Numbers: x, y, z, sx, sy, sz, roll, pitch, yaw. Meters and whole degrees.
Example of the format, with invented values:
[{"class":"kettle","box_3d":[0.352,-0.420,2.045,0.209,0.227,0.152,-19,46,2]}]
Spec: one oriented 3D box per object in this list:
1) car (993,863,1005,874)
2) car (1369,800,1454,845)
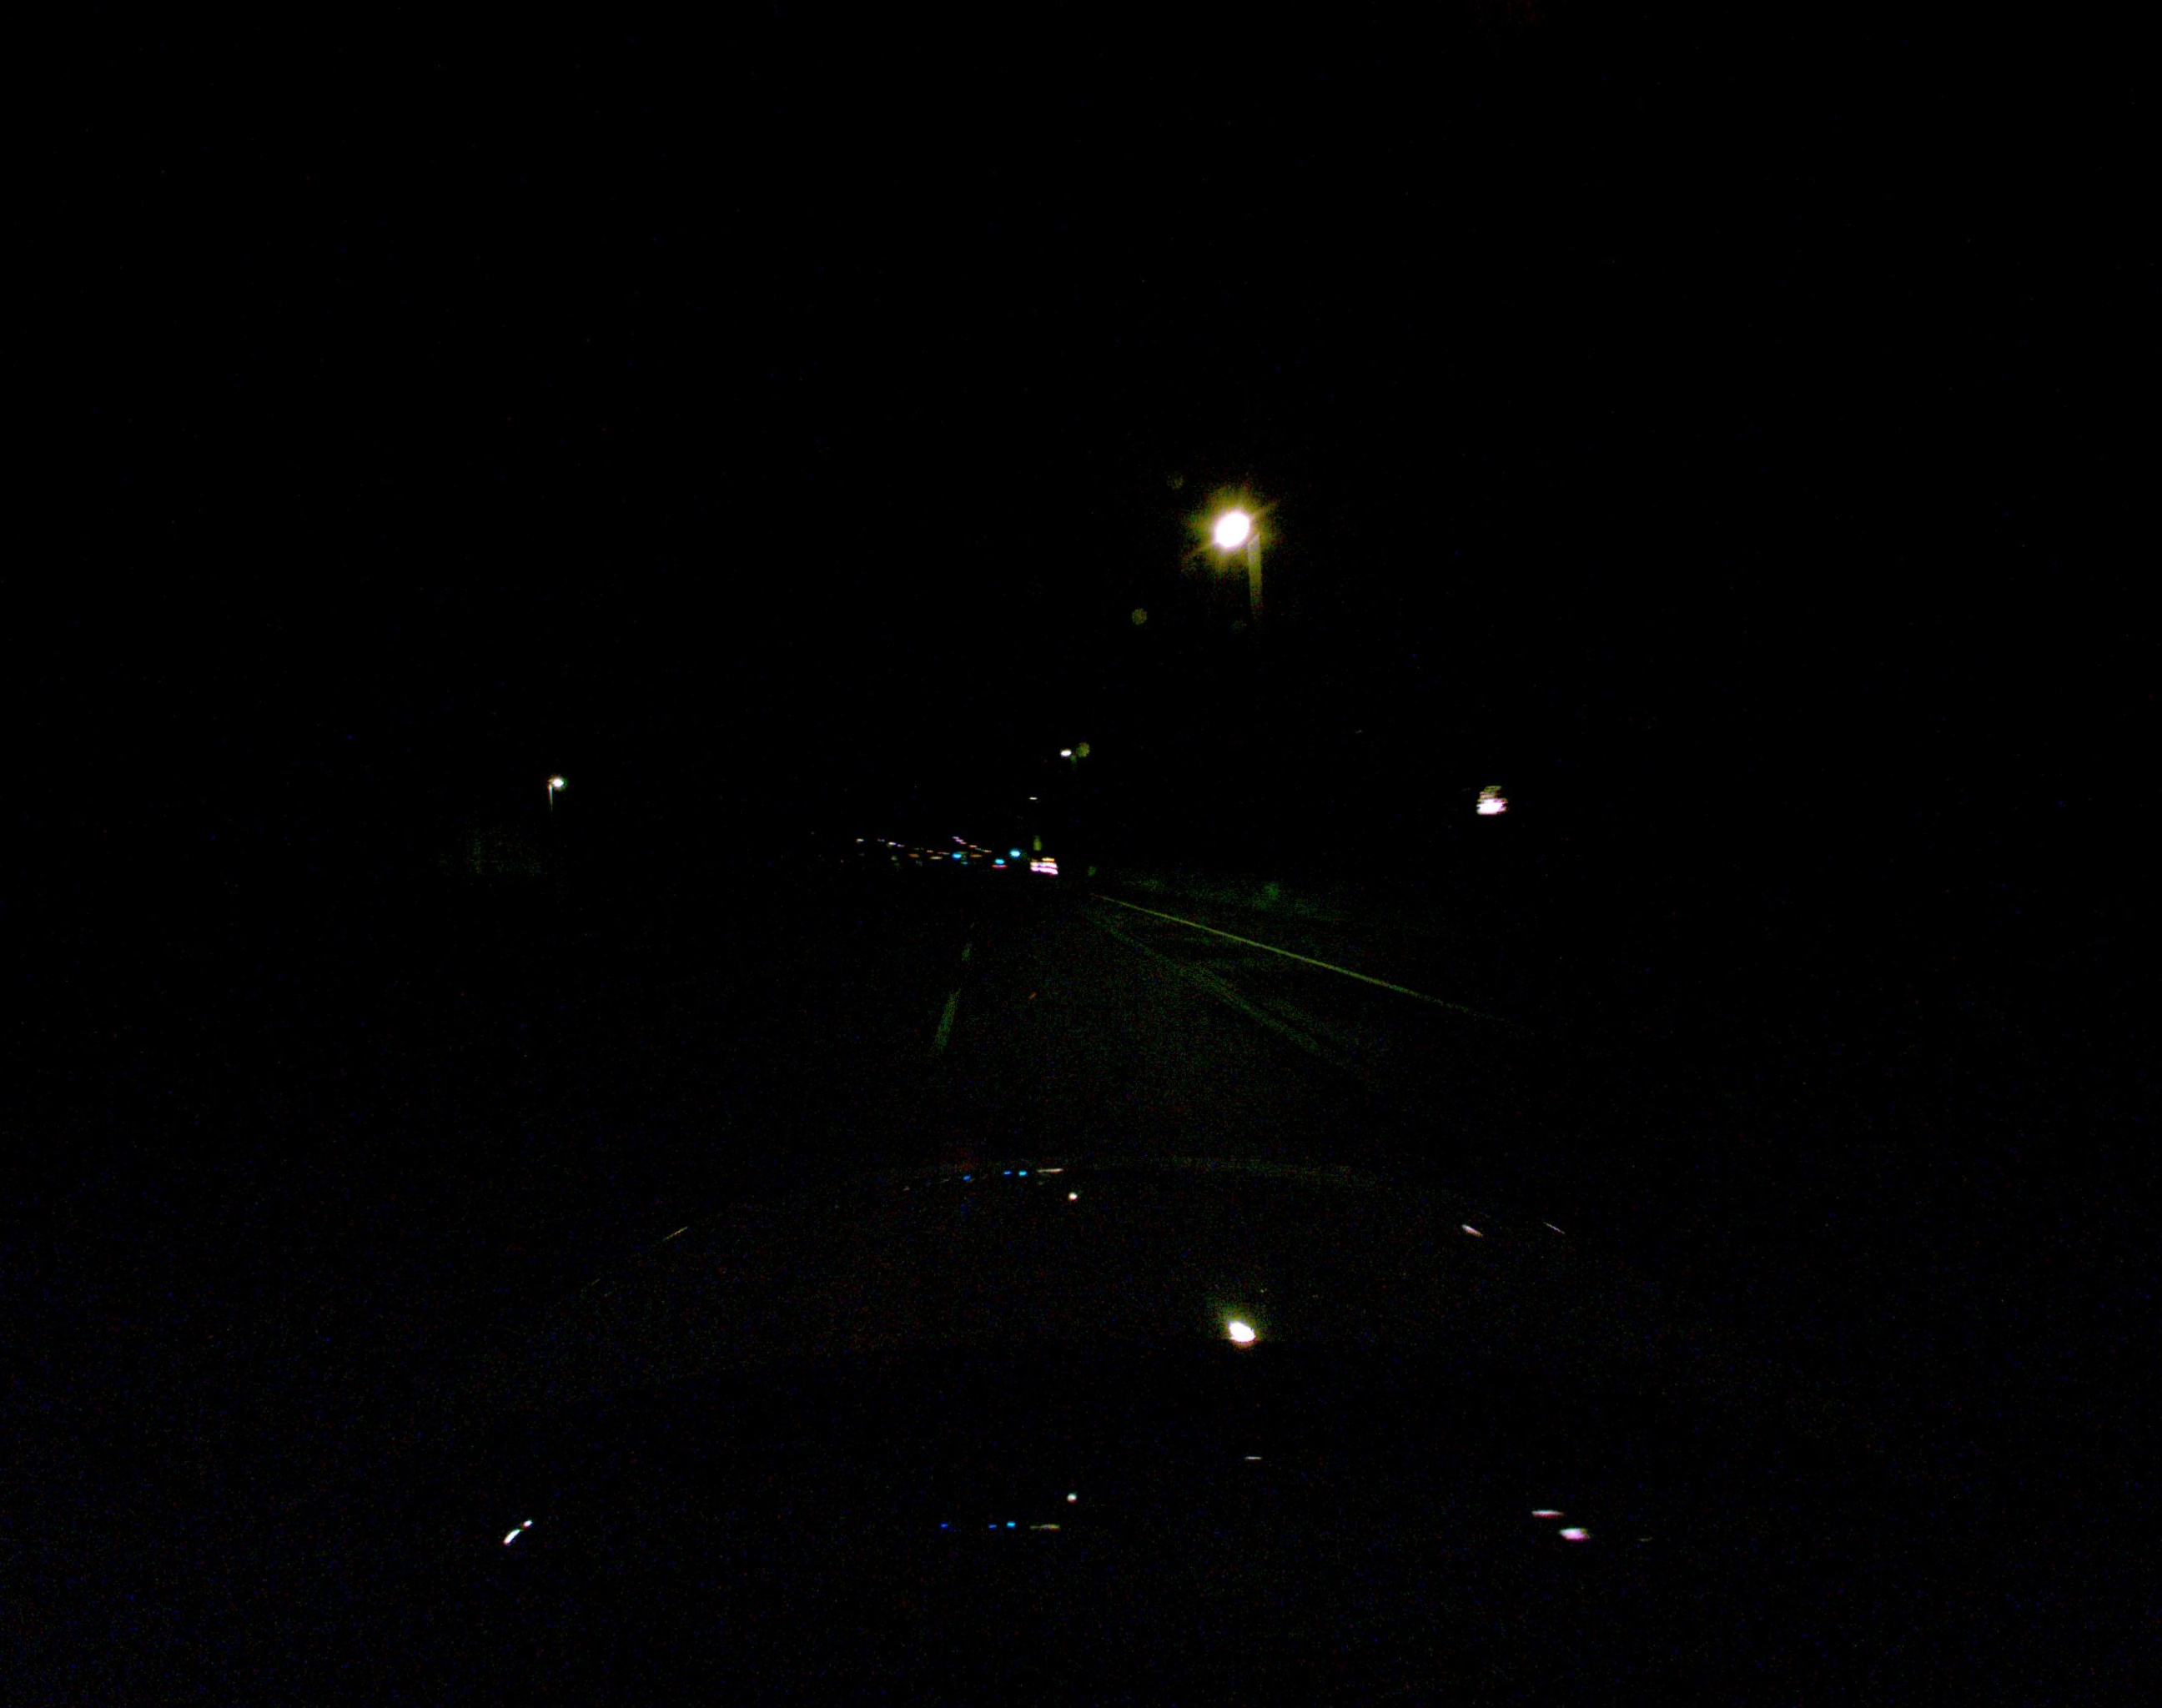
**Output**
[{"class":"car","box_3d":[-16.193,2.904,160.595,2.085,2.013,3.992,-3,0,-6]},{"class":"car","box_3d":[15.644,-1.446,38.793,1.948,1.837,4.107,-5,0,-5]}]
